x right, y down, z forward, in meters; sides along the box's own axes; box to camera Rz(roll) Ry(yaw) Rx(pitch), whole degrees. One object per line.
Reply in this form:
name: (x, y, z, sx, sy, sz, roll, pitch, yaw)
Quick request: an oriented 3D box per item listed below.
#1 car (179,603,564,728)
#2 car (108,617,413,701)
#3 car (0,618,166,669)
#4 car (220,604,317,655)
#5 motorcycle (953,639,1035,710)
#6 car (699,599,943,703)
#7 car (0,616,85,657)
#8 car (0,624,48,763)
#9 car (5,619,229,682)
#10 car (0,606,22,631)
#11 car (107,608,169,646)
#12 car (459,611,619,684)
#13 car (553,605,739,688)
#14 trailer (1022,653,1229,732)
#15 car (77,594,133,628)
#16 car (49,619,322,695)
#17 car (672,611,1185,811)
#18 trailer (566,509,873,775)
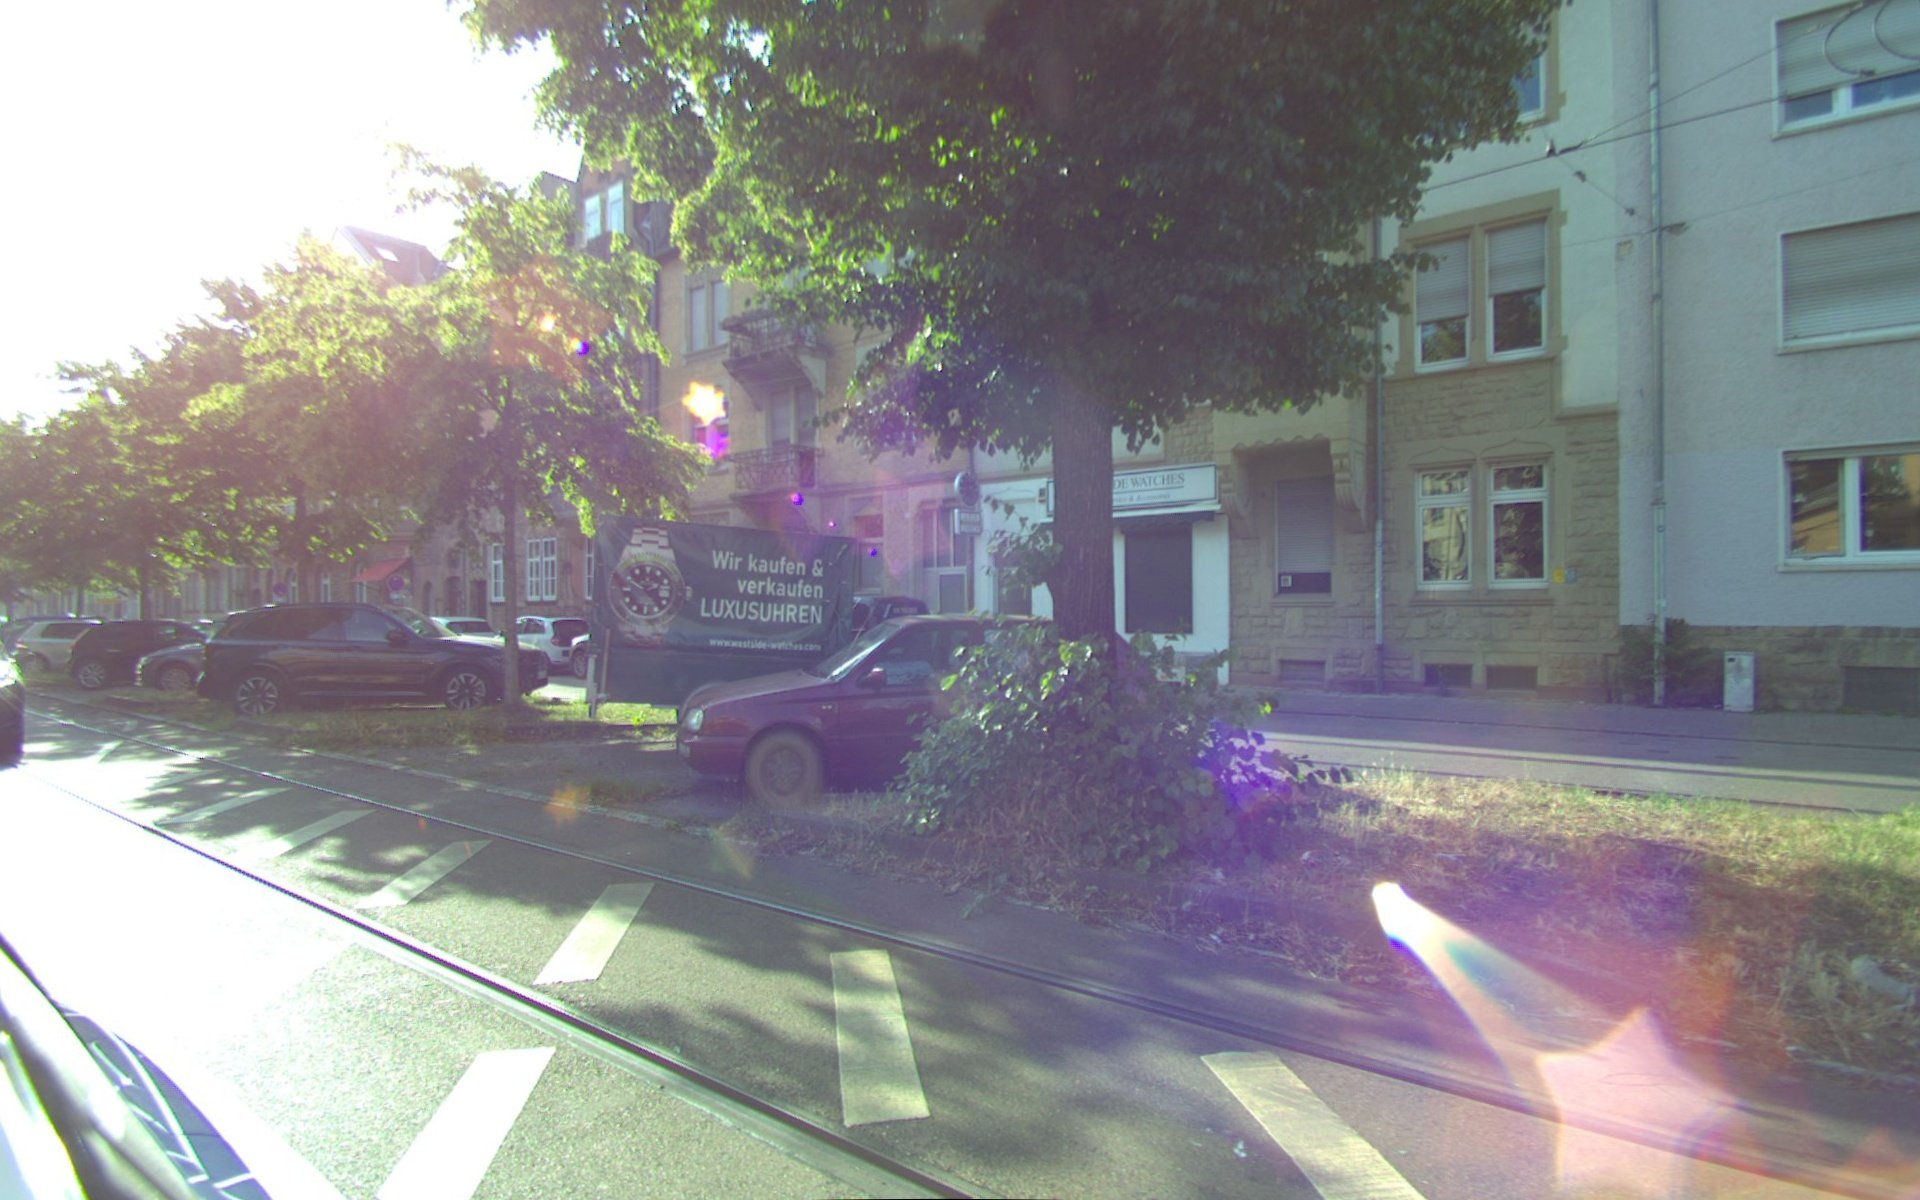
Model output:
car: (-8.752, 0.932, 15.526, 4.642, 1.703, 2.176, 0, -1, -9)
car: (-13.324, 1.091, 19.592, 4.532, 1.392, 1.706, -1, 0, -16)
car: (-27.366, 1.315, 31.070, 4.203, 1.433, 2.176, -1, 0, -10)
car: (-27.927, 1.188, 40.834, 4.608, 1.915, 2.142, -2, -1, 41)
motorcycle: (0.557, 1.247, 17.340, 0.626, 1.088, 1.739, -1, -1, -27)
car: (-2.797, 0.922, 19.743, 4.716, 1.763, 2.142, -2, -1, 41)
car: (-35.310, 1.333, 37.226, 4.202, 1.433, 2.176, 0, -1, -10)
car: (-12.214, 1.049, 11.851, 3.998, 1.492, 1.816, -2, -1, 41)
car: (-21.778, 1.273, 26.290, 4.203, 1.433, 1.685, -1, 0, -10)
car: (-77.580, 1.514, 81.995, 3.999, 2.029, 1.972, -2, -1, 42)
car: (-46.935, 1.525, 57.736, 3.996, 2.029, 1.974, -2, -1, 39)
car: (-11.348, 1.222, 27.151, 4.608, 1.763, 2.142, -2, -1, 41)
car: (-7.528, 1.052, 24.056, 4.608, 1.763, 2.142, -2, -1, 41)
trailer: (2.594, 1.411, 16.031, 2.876, 0.902, 1.427, -2, 5, 39)
car: (-53.176, 0.683, 62.948, 3.996, 2.029, 1.974, -2, -1, 39)
car: (-16.493, 1.173, 21.774, 4.237, 1.433, 1.963, -1, 0, -10)
car: (-0.327, 0.791, 8.322, 3.887, 1.370, 1.677, 0, -1, -14)
trailer: (-2.517, 0.372, 10.452, 2.817, 2.410, 1.728, -1, -1, -20)
